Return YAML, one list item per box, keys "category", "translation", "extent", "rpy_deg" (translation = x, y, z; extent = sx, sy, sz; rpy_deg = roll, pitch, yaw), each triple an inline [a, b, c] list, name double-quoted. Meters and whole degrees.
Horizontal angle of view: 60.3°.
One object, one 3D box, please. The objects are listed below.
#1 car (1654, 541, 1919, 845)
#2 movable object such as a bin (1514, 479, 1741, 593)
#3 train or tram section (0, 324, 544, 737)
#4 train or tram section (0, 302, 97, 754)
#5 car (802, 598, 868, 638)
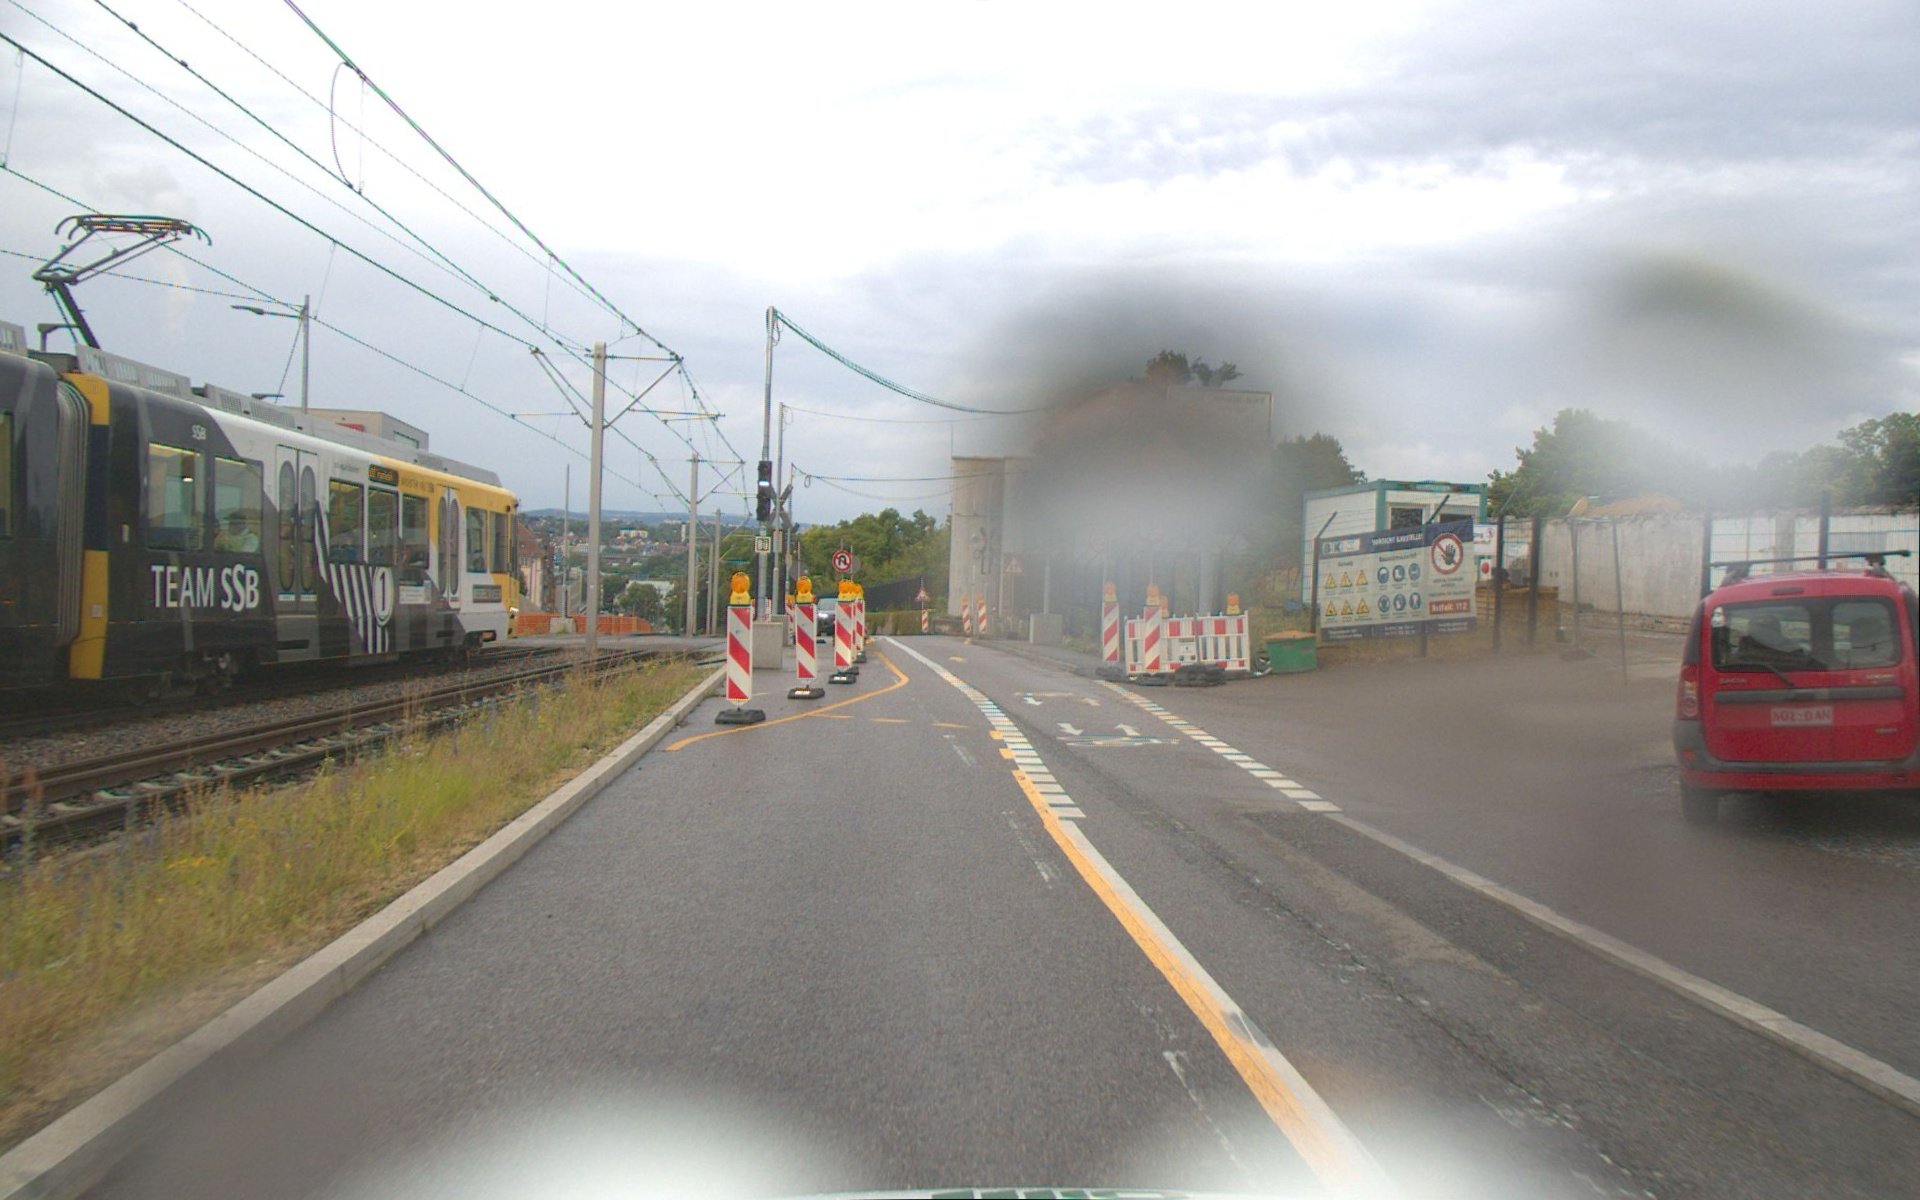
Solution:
- category: "car"
  translation: [6.331, 0.548, 12.163]
  extent: [1.785, 1.825, 4.401]
  rpy_deg: [1, 1, 29]
- category: "movable object such as a bin"
  translation: [36.351, -3.463, 90.477]
  extent: [10.993, 6.100, 3.493]
  rpy_deg: [0, 0, 6]
- category: "train or tram section"
  translation: [-10.122, -0.777, 25.572]
  extent: [2.895, 3.953, 19.285]
  rpy_deg: [2, 0, -2]
- category: "train or tram section"
  translation: [-9.769, -0.614, 6.193]
  extent: [2.895, 3.953, 19.570]
  rpy_deg: [2, 0, -1]
- category: "car"
  translation: [-5.570, 0.767, 73.160]
  extent: [1.962, 1.707, 4.466]
  rpy_deg: [0, 0, -18]
